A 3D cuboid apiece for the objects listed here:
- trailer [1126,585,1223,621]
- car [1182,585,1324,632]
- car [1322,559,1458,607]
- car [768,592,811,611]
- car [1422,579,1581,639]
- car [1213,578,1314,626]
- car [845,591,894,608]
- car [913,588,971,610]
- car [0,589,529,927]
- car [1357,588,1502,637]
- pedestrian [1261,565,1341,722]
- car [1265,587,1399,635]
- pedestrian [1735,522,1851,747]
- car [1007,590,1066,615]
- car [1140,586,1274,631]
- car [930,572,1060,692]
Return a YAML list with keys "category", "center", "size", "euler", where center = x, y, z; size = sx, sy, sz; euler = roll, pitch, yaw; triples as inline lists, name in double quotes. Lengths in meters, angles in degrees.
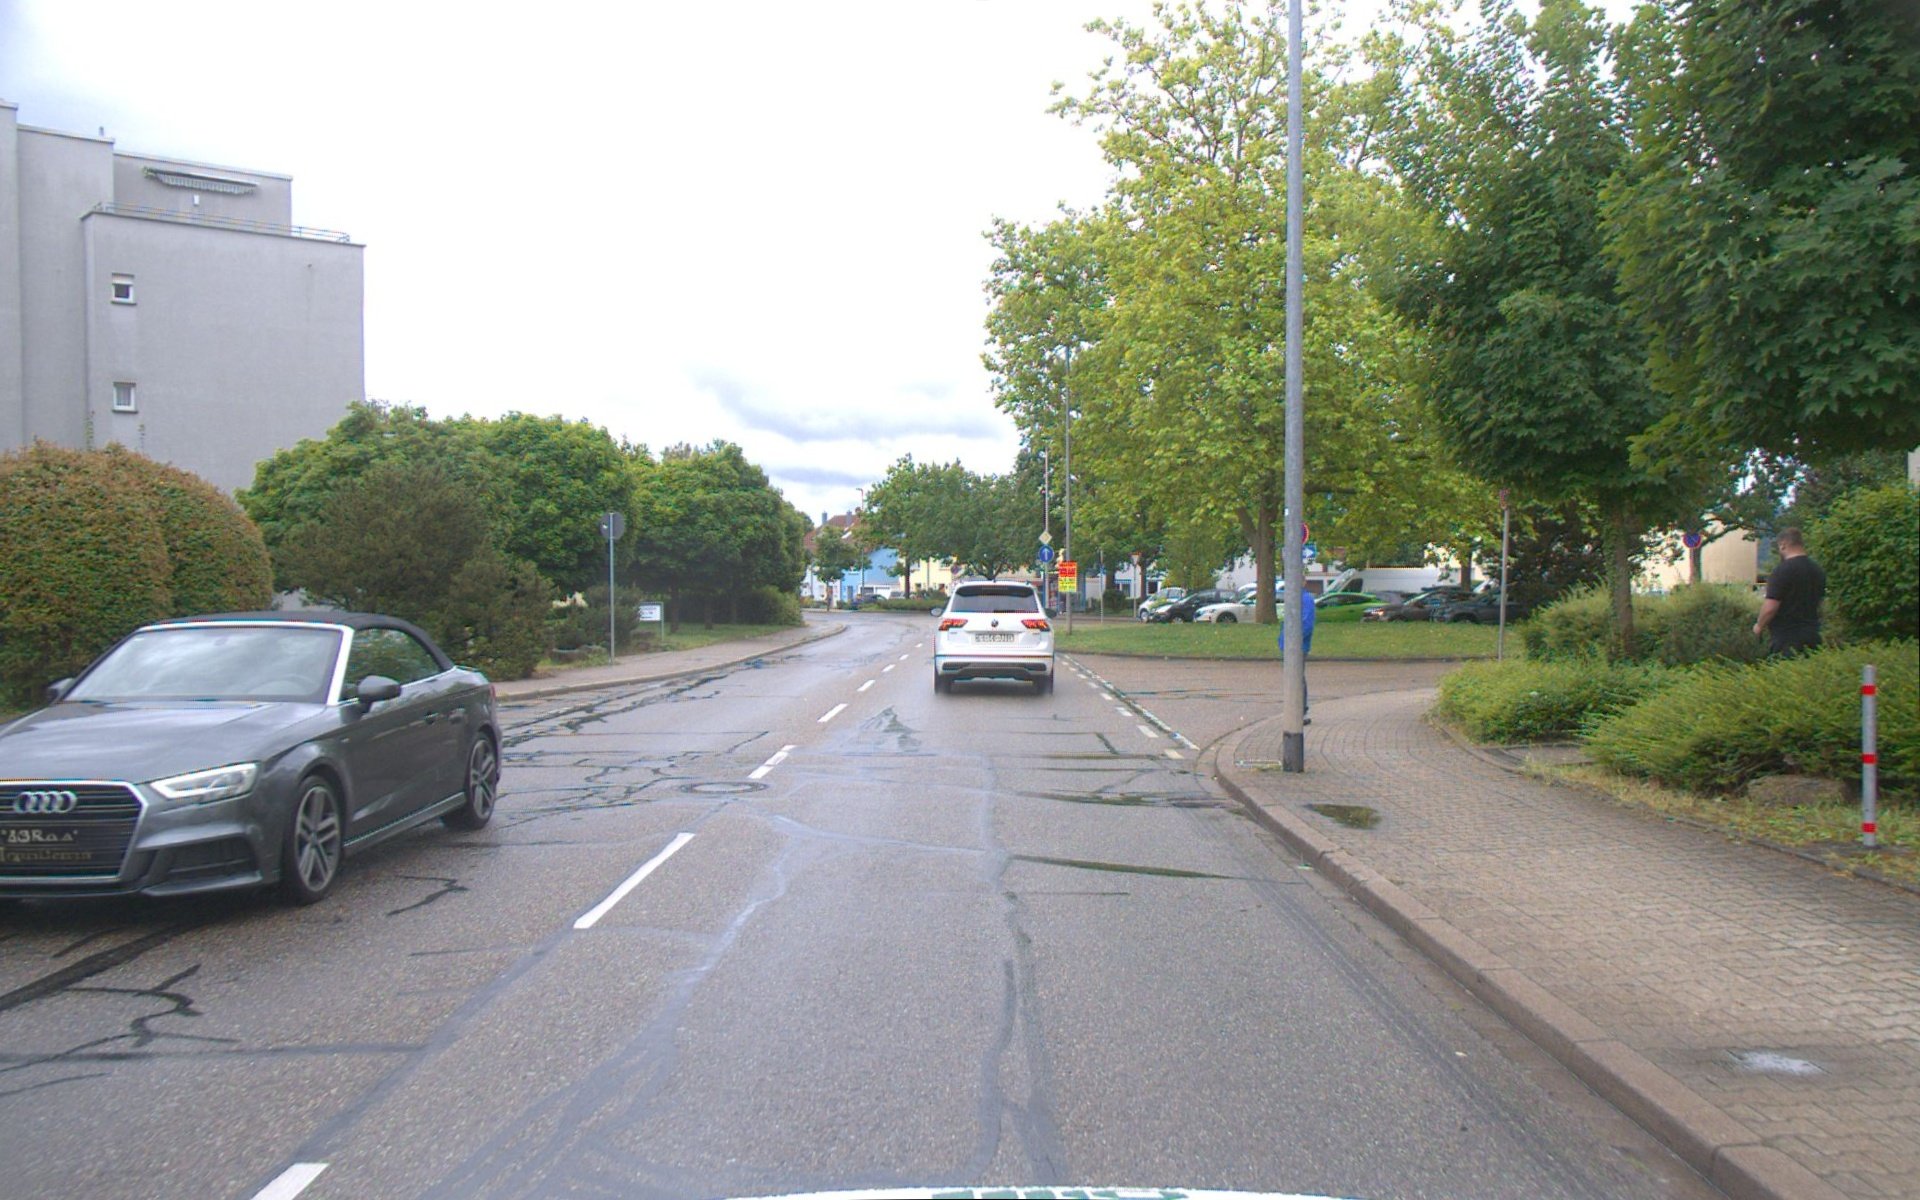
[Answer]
- category: "trailer"
  center: [9.612, 0.142, 74.302]
  size: [1.975, 1.570, 4.375]
  euler: [-1, 0, -33]
- category: "car"
  center: [10.069, 0.278, 57.019]
  size: [4.483, 1.468, 1.762]
  euler: [-1, 0, -5]
- category: "car"
  center: [19.705, -0.795, 75.806]
  size: [5.714, 2.049, 1.995]
  euler: [-1, 0, -10]
- category: "car"
  center: [-13.345, 0.075, 129.243]
  size: [1.972, 1.445, 3.960]
  euler: [0, 0, -30]
- category: "car"
  center: [15.766, 0.262, 48.344]
  size: [4.188, 1.655, 1.766]
  euler: [-1, 0, 11]
- category: "car"
  center: [12.681, 0.069, 69.241]
  size: [1.972, 1.914, 4.170]
  euler: [-1, 0, -30]
- category: "car"
  center: [-7.608, -0.022, 139.019]
  size: [3.960, 1.411, 1.652]
  euler: [0, 0, -39]
- category: "car"
  center: [-1.378, -0.082, 129.456]
  size: [4.142, 1.701, 1.968]
  euler: [-1, 0, -34]
- category: "car"
  center: [-3.824, 0.678, 9.227]
  size: [1.639, 1.468, 4.001]
  euler: [0, 0, 3]
- category: "car"
  center: [14.441, 0.359, 50.997]
  size: [3.931, 1.395, 1.762]
  euler: [-1, 0, -5]
- category: "pedestrian"
  center: [3.764, 0.463, 18.284]
  size: [0.580, 1.695, 0.772]
  euler: [0, 0, -16]
- category: "car"
  center: [12.187, 0.348, 54.300]
  size: [3.931, 1.468, 1.762]
  euler: [-1, 0, -5]
- category: "pedestrian"
  center: [6.833, 0.273, 13.590]
  size: [0.601, 1.803, 0.670]
  euler: [0, 0, -3]
- category: "car"
  center: [5.528, 0.174, 119.076]
  size: [3.955, 1.751, 1.900]
  euler: [-1, 0, -36]
- category: "car"
  center: [8.860, 0.294, 59.569]
  size: [4.483, 1.468, 1.762]
  euler: [-1, 0, -5]
- category: "car"
  center: [0.531, 0.444, 25.702]
  size: [1.826, 1.679, 4.001]
  euler: [-1, 0, 1]
